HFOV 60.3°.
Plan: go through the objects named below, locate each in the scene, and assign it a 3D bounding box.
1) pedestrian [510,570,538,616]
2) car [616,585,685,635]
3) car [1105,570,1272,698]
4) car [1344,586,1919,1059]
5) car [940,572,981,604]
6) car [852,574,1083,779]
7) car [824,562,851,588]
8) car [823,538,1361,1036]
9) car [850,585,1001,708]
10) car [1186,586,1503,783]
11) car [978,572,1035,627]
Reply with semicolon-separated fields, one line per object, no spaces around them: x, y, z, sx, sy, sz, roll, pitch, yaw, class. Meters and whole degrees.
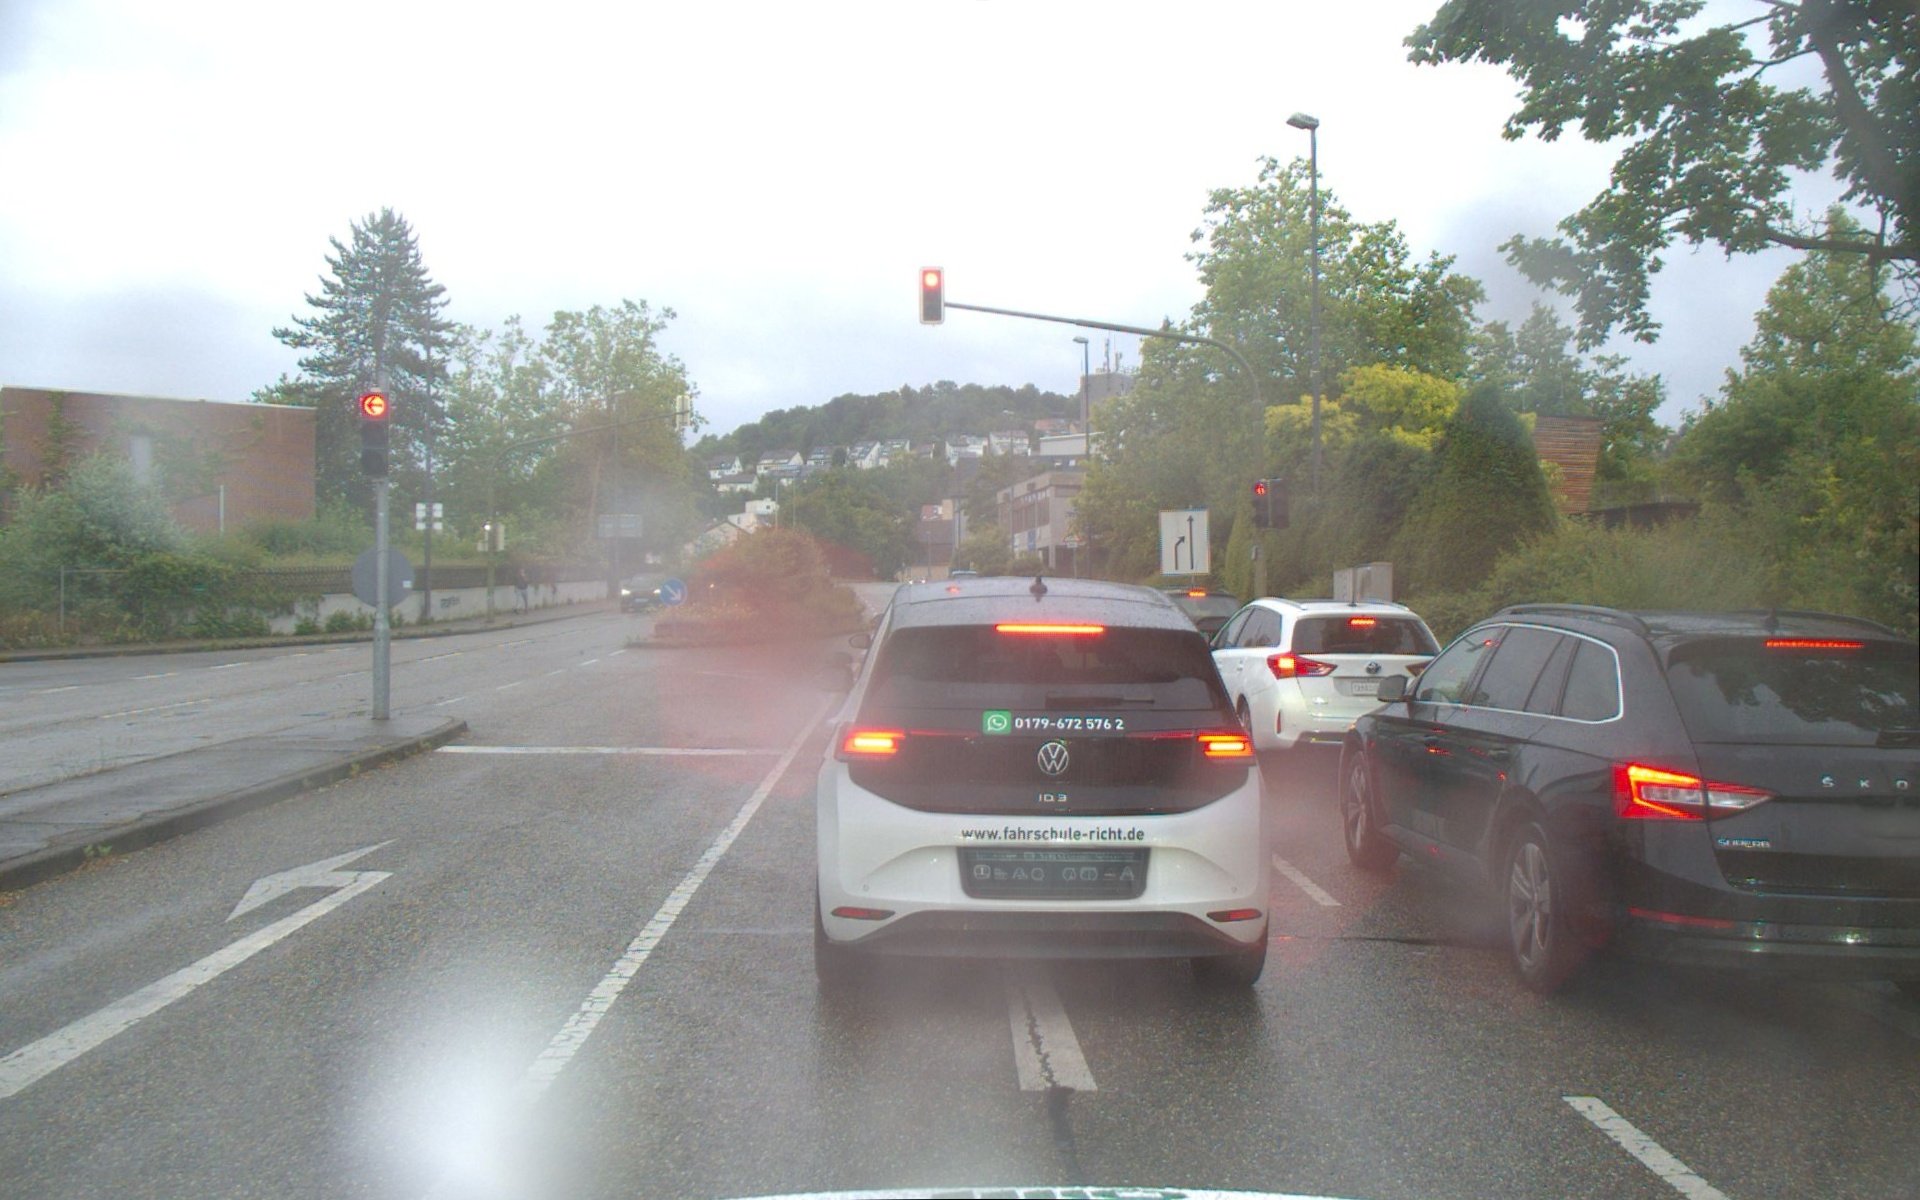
-15.721;-0.248;59.691;0.744;1.595;0.825;-2;0;-2;pedestrian
-12.230;0.366;65.656;1.953;1.836;3.999;-3;0;-1;car
3.131;0.442;23.389;1.739;1.609;3.999;1;0;-1;car
3.138;0.710;7.494;1.800;1.492;4.350;1;1;1;car
0.006;-0.570;77.877;1.726;1.443;3.747;-1;1;-3;car
0.012;0.584;15.216;1.800;1.582;4.174;1;1;-1;car
-10.394;-2.080;140.327;1.953;2.049;3.999;1;-1;-1;car
0.399;0.616;7.941;1.800;1.657;4.614;1;1;-1;car
-0.460;0.547;21.902;1.800;1.424;3.830;1;1;-1;car
3.298;0.648;15.025;1.800;1.492;4.116;1;1;-1;car
1.343;-0.017;48.257;1.548;1.492;4.001;-1;0;1;car
